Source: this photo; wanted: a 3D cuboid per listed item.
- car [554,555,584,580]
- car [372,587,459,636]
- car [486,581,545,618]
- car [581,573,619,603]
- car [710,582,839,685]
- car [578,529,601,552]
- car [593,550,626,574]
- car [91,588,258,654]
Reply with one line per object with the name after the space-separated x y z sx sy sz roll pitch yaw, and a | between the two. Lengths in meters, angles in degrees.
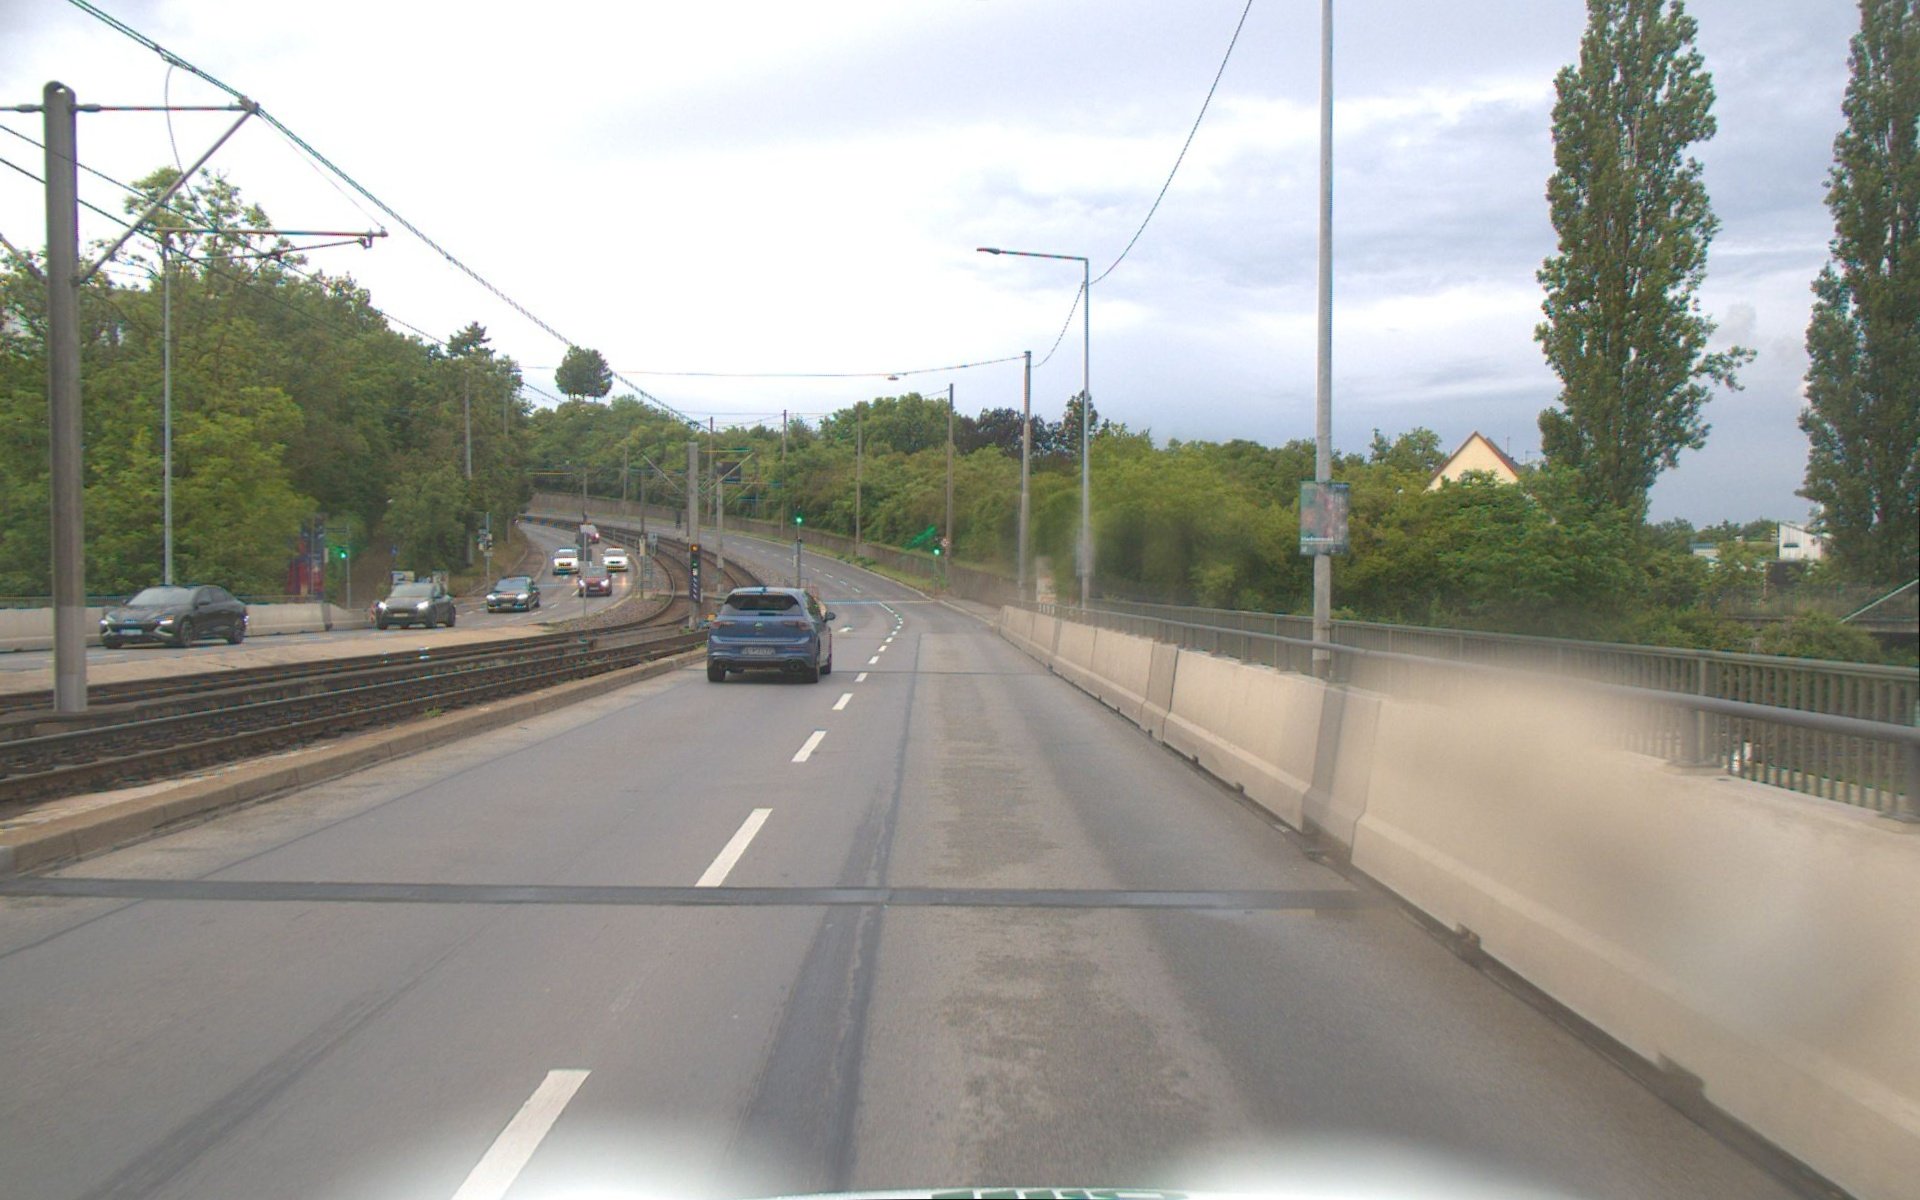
-25.874 -2.112 109.501 1.789 1.541 4.516 0 0 -12 | car
-19.283 0.369 58.755 1.859 1.625 4.727 -1 1 -5 | car
-21.000 0.011 78.292 1.931 1.625 5.176 -1 -1 -7 | car
-19.460 -0.680 89.531 1.569 1.519 3.015 -1 2 -5 | car
-2.948 0.508 26.963 1.728 1.527 3.999 1 0 -2 | car
-33.302 -5.347 148.638 1.818 1.623 4.717 -1 7 -15 | car
-23.752 -2.540 111.911 1.703 1.462 4.469 -1 0 -18 | car
-18.764 0.459 39.766 1.779 1.461 4.740 0 1 0 | car
